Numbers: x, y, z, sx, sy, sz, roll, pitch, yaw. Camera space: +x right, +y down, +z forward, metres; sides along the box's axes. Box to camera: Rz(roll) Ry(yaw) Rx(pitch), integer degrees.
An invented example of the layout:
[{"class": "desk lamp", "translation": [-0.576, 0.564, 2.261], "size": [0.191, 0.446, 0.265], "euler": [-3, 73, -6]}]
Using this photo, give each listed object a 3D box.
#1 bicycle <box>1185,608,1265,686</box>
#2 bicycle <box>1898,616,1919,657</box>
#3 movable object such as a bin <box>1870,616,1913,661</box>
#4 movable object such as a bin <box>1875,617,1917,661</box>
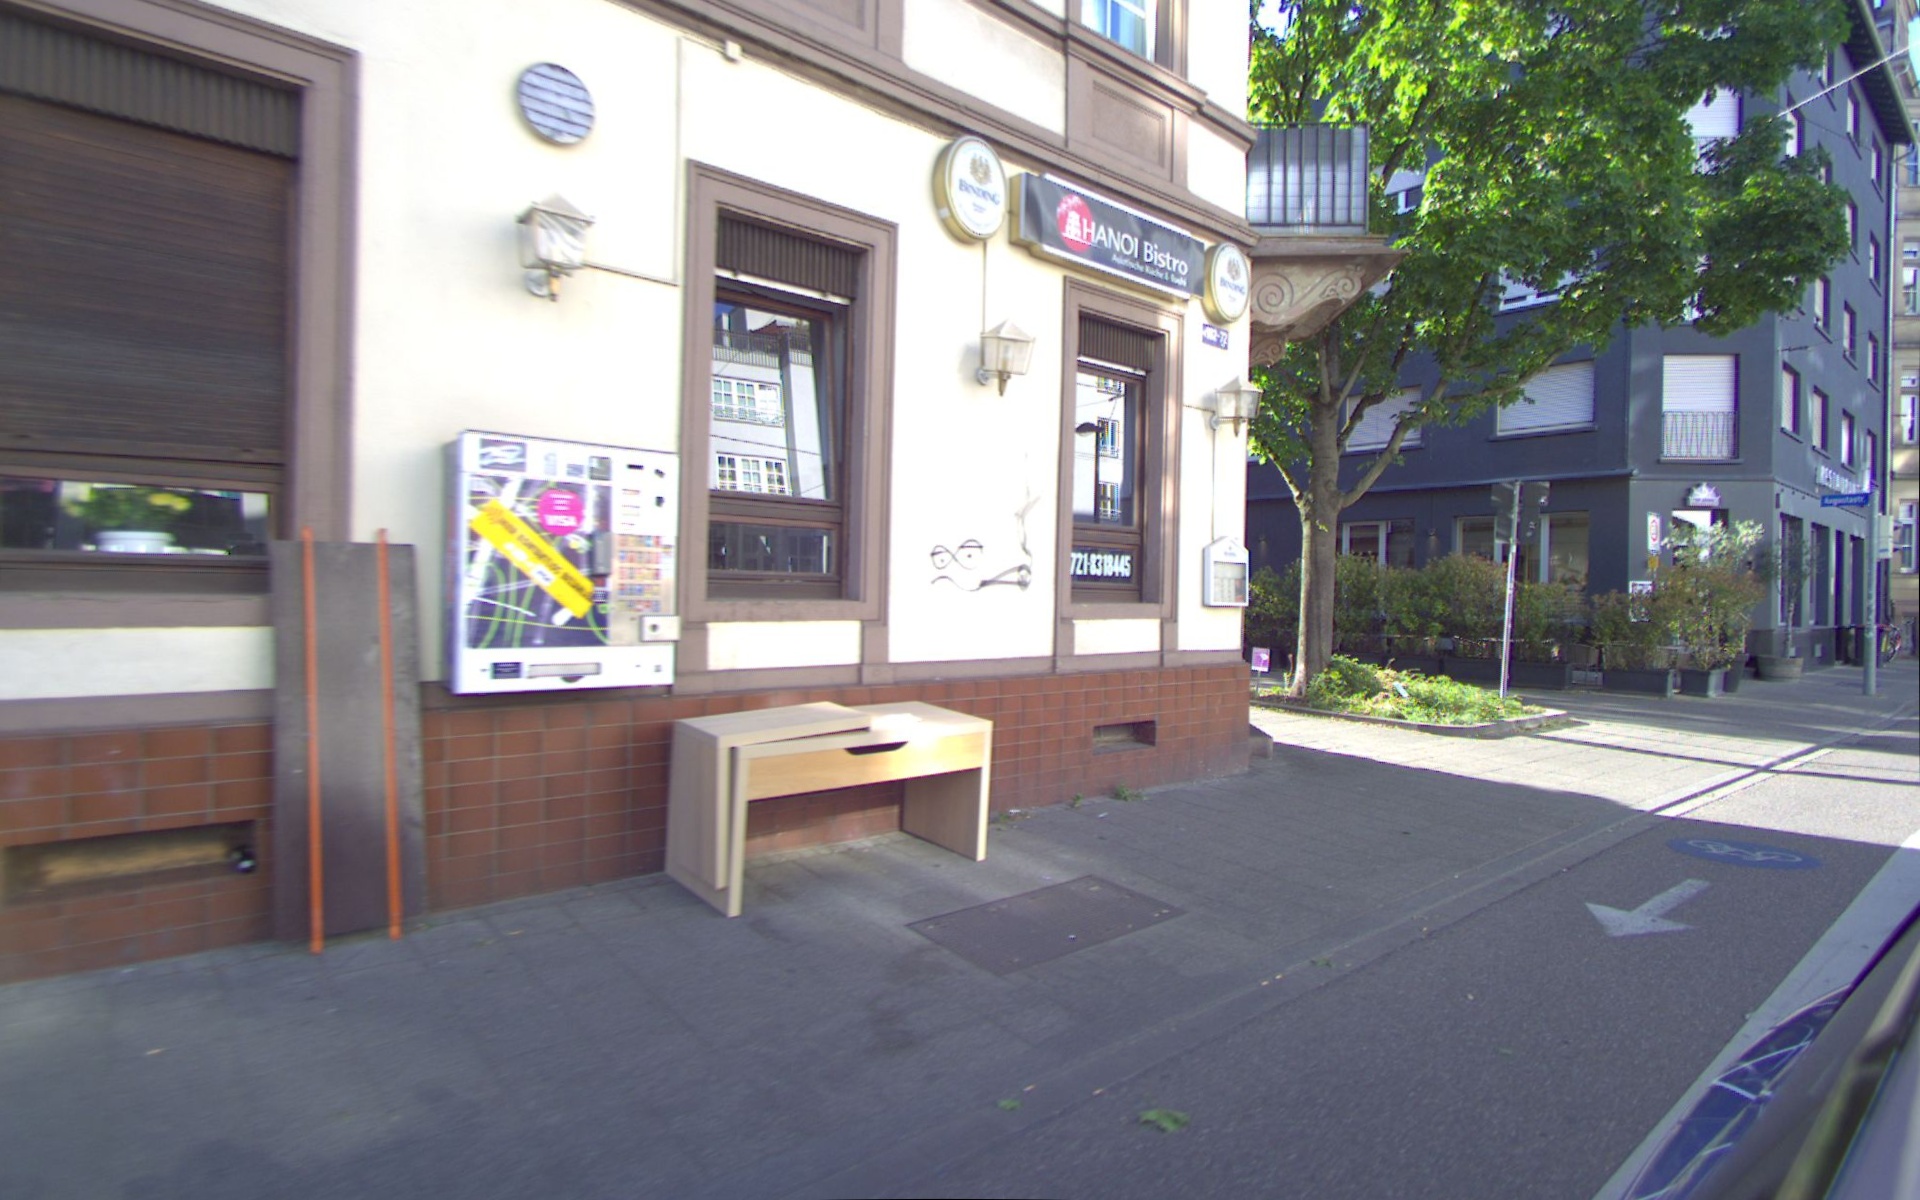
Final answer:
[{"class": "bicycle", "translation": [4.315, 0.739, 16.613], "size": [0.526, 1.163, 1.911], "euler": [1, 1, -9]}, {"class": "bicycle", "translation": [26.107, 0.984, 27.768], "size": [1.486, 1.072, 0.377], "euler": [1, -1, -40]}, {"class": "movable object such as a bin", "translation": [23.168, 0.942, 25.168], "size": [0.626, 1.082, 0.716], "euler": [1, -1, -41]}, {"class": "movable object such as a bin", "translation": [23.769, 0.969, 25.708], "size": [0.626, 1.082, 0.716], "euler": [1, -1, -41]}]
